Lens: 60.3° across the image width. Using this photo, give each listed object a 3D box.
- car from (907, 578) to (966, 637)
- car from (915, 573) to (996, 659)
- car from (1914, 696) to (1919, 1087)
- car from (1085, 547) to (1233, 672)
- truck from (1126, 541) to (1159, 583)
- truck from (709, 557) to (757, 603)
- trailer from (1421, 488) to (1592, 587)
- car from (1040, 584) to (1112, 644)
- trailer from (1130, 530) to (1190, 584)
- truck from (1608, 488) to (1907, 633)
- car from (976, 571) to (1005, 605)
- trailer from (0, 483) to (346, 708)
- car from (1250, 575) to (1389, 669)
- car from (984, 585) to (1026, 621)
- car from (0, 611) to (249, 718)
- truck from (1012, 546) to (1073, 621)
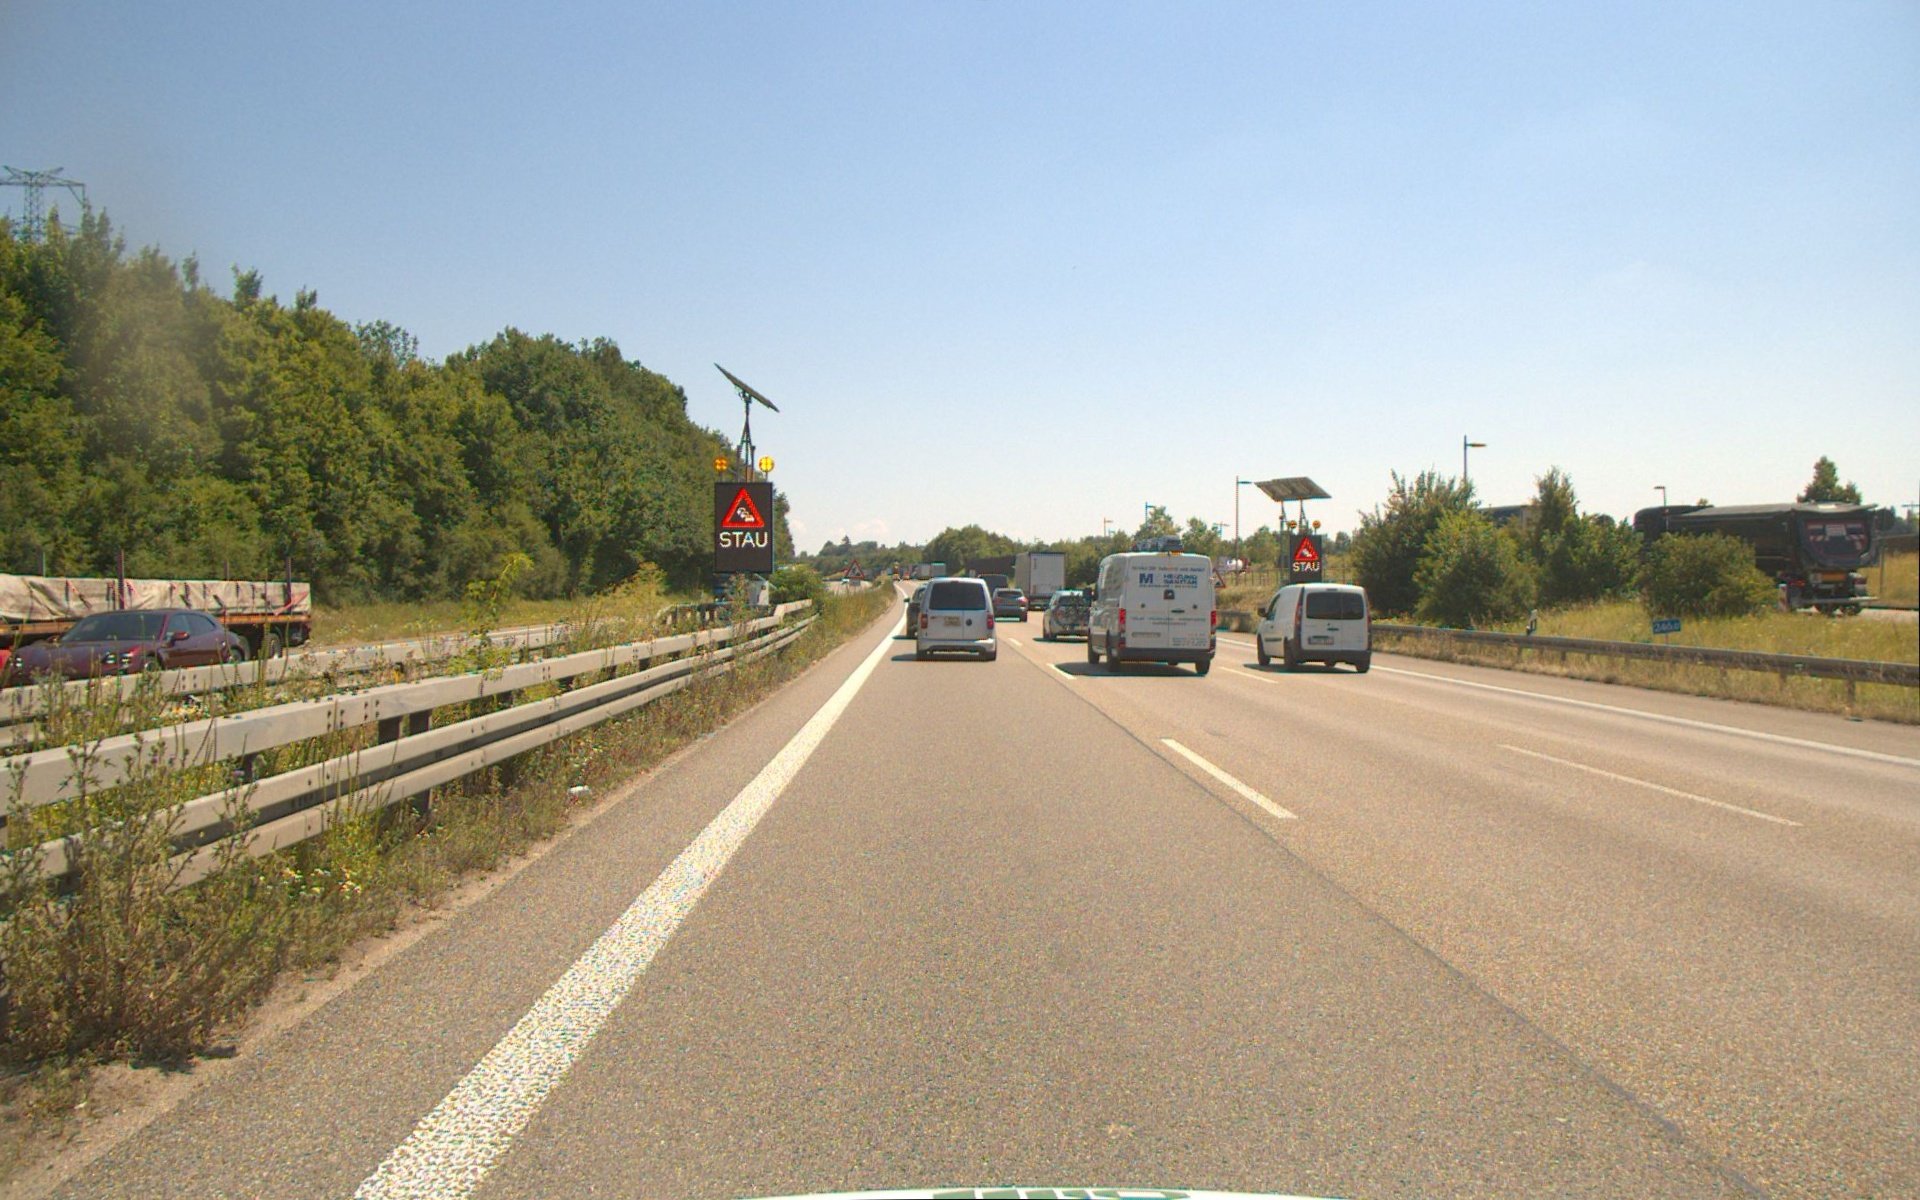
[{"bbox_3d":[-0.693,0.212,51.199,1.709,1.731,4.088,-1,0,0],"label":"car"},{"bbox_3d":[-0.097,0.337,37.119,1.709,1.795,4.088,-1,0,0],"label":"car"},{"bbox_3d":[3.995,0.704,2.388,1.911,1.665,5.599,1,0,-1],"label":"car"},{"bbox_3d":[3.912,0.176,33.514,2.138,2.293,5.361,1,0,-2],"label":"car"},{"bbox_3d":[17.626,-3.626,159.992,2.550,3.894,3.999,1,0,-2],"label":"truck"},{"bbox_3d":[-20.081,-1.735,146.941,2.935,3.868,10.786,0,0,-1],"label":"truck"},{"bbox_3d":[25.639,-2.758,78.744,2.991,4.154,14.253,1,0,-2],"label":"trailer"},{"bbox_3d":[3.576,0.419,51.508,1.935,1.763,4.088,-1,0,0],"label":"car"},{"bbox_3d":[17.915,-3.763,149.645,2.553,4.332,18.415,1,0,-2],"label":"trailer"},{"bbox_3d":[25.793,-1.162,54.662,3.711,4.154,12.517,1,0,0],"label":"truck"},{"bbox_3d":[1.771,-0.709,97.445,1.640,1.925,4.088,-1,0,0],"label":"car"},{"bbox_3d":[-17.105,-0.096,34.493,2.935,3.621,16.019,0,0,-1],"label":"trailer"},{"bbox_3d":[7.617,0.442,35.445,1.911,1.870,4.176,-1,0,-2],"label":"car"},{"bbox_3d":[2.131,0.134,79.648,1.863,1.701,4.088,-1,0,0],"label":"car"},{"bbox_3d":[-12.599,0.894,25.032,1.734,1.357,4.918,-1,0,-3],"label":"car"},{"bbox_3d":[5.897,-1.171,120.219,3.711,5.087,12.517,1,0,0],"label":"truck"}]
